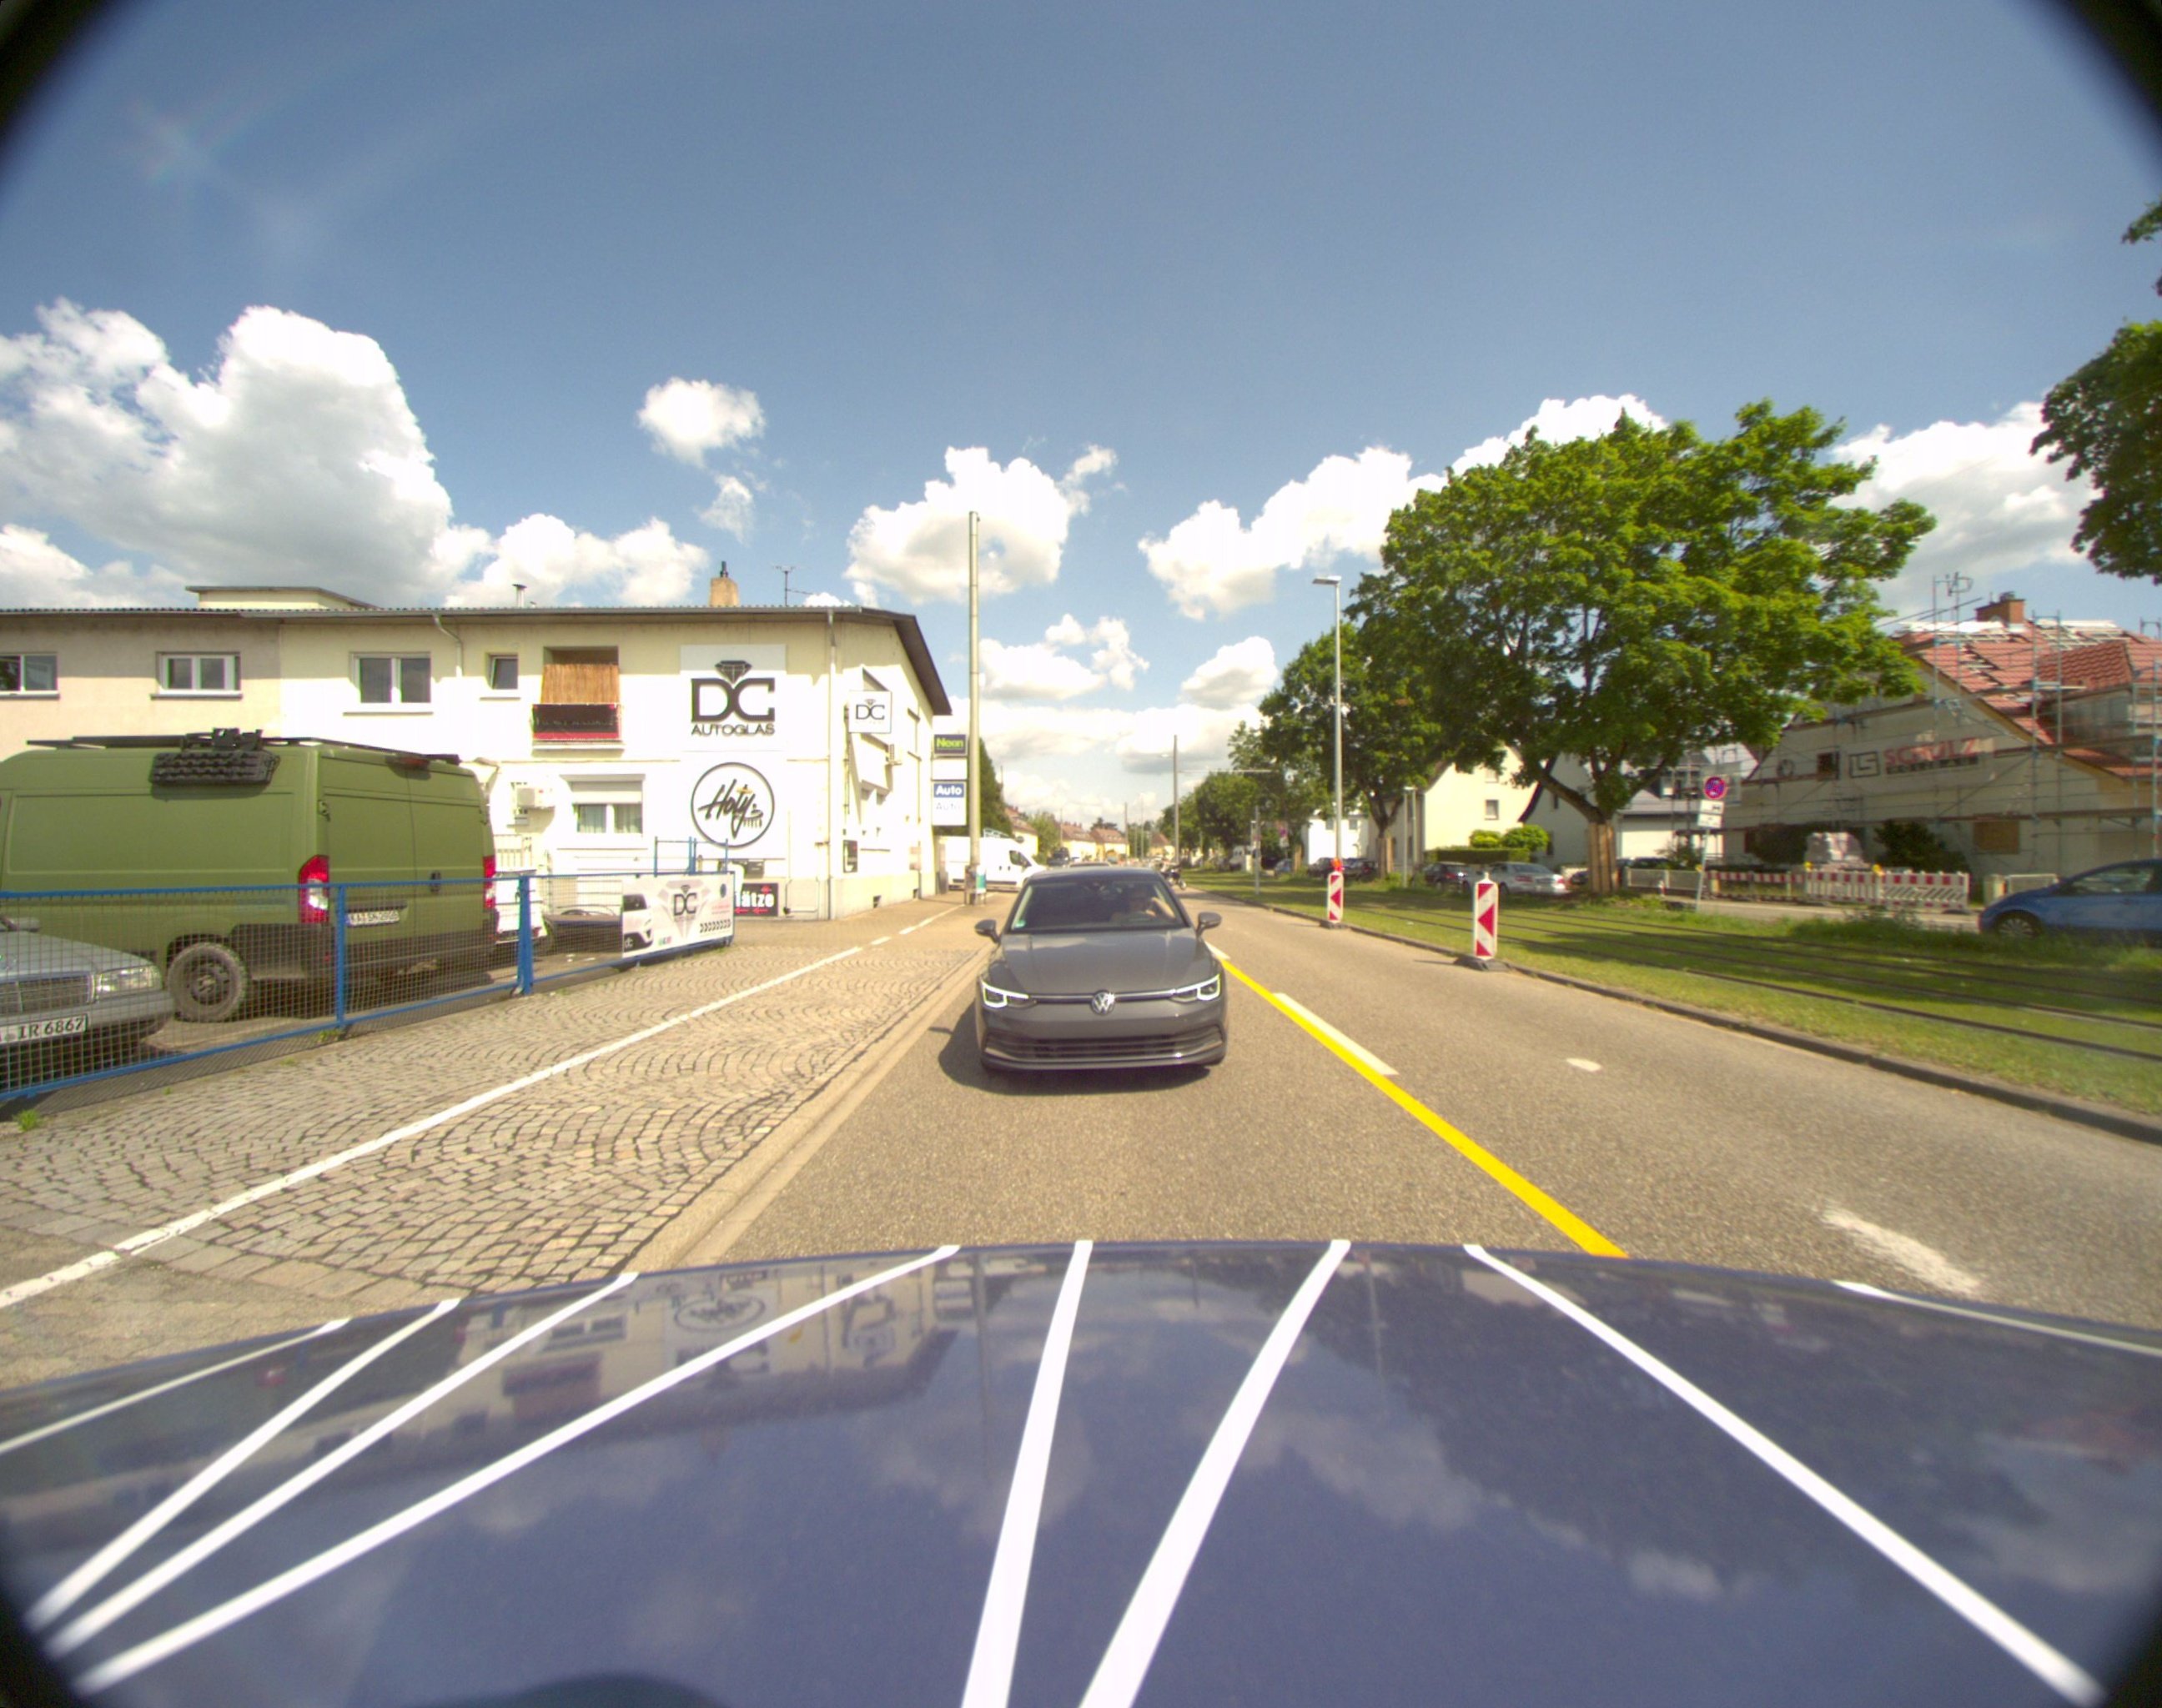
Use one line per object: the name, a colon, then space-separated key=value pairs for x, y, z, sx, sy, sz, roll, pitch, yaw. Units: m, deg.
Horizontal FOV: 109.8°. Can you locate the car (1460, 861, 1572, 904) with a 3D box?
car: x=16.423 y=1.063 z=28.972 sx=1.788 sy=1.477 sz=4.523 roll=-1 pitch=-1 yaw=2

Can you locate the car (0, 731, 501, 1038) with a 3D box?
car: x=-8.724 y=0.271 z=7.616 sx=4.207 sy=2.627 sz=2.113 roll=0 pitch=0 yaw=2

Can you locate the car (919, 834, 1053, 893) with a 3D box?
car: x=-4.211 y=0.433 z=34.463 sx=5.838 sy=2.449 sz=2.091 roll=2 pitch=0 yaw=-3

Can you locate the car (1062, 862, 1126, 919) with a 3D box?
car: x=0.383 y=1.008 z=22.285 sx=1.702 sy=1.477 sz=4.000 roll=0 pitch=0 yaw=1

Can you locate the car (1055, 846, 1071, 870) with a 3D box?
car: x=-1.911 y=0.442 z=82.445 sx=1.702 sy=2.510 sz=5.144 roll=0 pitch=0 yaw=0

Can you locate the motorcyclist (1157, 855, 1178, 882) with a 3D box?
motorcyclist: x=4.101 y=0.677 z=35.993 sx=0.780 sy=1.284 sz=0.658 roll=0 pitch=0 yaw=-15

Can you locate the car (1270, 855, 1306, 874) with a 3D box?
car: x=16.646 y=0.869 z=61.288 sx=1.702 sy=1.477 sz=4.407 roll=-1 pitch=-1 yaw=1

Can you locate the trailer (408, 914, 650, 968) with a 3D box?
trailer: x=-8.365 y=1.306 z=11.666 sx=2.733 sy=0.662 sz=1.329 roll=0 pitch=0 yaw=-1

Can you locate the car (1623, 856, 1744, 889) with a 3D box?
car: x=28.908 y=0.885 z=36.518 sx=4.402 sy=1.477 sz=1.704 roll=-1 pitch=-1 yaw=1

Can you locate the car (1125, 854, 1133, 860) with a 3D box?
car: x=13.824 y=0.925 z=218.689 sx=1.700 sy=1.574 sz=4.005 roll=0 pitch=0 yaw=16

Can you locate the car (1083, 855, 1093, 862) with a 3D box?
car: x=1.445 y=0.893 z=155.844 sx=1.701 sy=1.574 sz=4.002 roll=0 pitch=0 yaw=7

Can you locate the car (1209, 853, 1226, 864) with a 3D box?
car: x=18.772 y=0.664 z=104.738 sx=1.701 sy=1.477 sz=4.407 roll=-1 pitch=-1 yaw=2

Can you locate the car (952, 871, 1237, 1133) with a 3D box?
car: x=0.105 y=0.935 z=6.547 sx=1.702 sy=1.477 sz=4.000 roll=0 pitch=0 yaw=1

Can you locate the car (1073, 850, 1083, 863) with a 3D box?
car: x=-0.492 y=0.409 z=136.216 sx=1.701 sy=2.233 sz=4.947 roll=0 pitch=0 yaw=2

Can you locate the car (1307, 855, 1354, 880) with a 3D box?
car: x=16.556 y=0.893 z=50.668 sx=1.702 sy=1.562 sz=4.407 roll=-1 pitch=-1 yaw=1

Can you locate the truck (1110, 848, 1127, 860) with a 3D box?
truck: x=9.914 y=0.125 z=201.057 sx=2.710 sy=3.119 sz=8.124 roll=0 pitch=0 yaw=15

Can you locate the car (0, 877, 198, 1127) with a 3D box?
car: x=-8.457 y=0.889 z=4.780 sx=4.282 sy=1.444 sz=1.713 roll=0 pitch=0 yaw=8

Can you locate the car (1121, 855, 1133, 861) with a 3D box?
car: x=10.819 y=0.939 z=178.697 sx=2.116 sy=1.477 sz=4.409 roll=0 pitch=0 yaw=10

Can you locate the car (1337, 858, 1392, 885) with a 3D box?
car: x=16.772 y=1.030 z=45.162 sx=1.702 sy=1.477 sz=4.407 roll=-1 pitch=-1 yaw=1

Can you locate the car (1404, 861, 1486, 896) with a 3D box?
car: x=16.627 y=1.116 z=34.944 sx=1.702 sy=1.477 sz=4.407 roll=-1 pitch=-1 yaw=1

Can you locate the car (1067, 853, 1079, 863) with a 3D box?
car: x=-1.325 y=0.662 z=122.799 sx=1.701 sy=1.574 sz=4.001 roll=0 pitch=0 yaw=3

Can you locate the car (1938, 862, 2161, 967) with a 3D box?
car: x=16.195 y=0.864 z=11.406 sx=1.702 sy=1.477 sz=4.407 roll=-1 pitch=-1 yaw=1

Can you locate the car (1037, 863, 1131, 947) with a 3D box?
car: x=0.080 y=0.939 z=15.724 sx=1.702 sy=1.477 sz=4.000 roll=0 pitch=0 yaw=1

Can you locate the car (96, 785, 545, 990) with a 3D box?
car: x=-9.500 y=0.402 z=9.711 sx=4.207 sy=2.392 sz=1.586 roll=0 pitch=0 yaw=2

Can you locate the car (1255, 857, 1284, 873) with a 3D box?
car: x=17.648 y=1.070 z=71.333 sx=1.702 sy=1.477 sz=4.407 roll=-1 pitch=-1 yaw=1

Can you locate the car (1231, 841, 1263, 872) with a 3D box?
car: x=16.819 y=0.266 z=77.278 sx=2.136 sy=3.019 sz=5.084 roll=-1 pitch=-1 yaw=1

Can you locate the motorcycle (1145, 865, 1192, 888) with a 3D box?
motorcycle: x=4.149 y=1.062 z=36.013 sx=2.112 sy=1.040 sz=0.658 roll=0 pitch=0 yaw=-15

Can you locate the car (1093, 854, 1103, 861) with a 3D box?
car: x=3.849 y=0.897 z=173.603 sx=1.700 sy=1.574 sz=4.004 roll=0 pitch=0 yaw=12

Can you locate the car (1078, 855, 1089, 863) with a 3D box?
car: x=0.487 y=0.890 z=146.713 sx=1.701 sy=1.574 sz=4.002 roll=0 pitch=0 yaw=6

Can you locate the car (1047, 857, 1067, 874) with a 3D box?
car: x=-2.184 y=1.041 z=70.761 sx=1.702 sy=1.574 sz=4.000 roll=0 pitch=0 yaw=1
